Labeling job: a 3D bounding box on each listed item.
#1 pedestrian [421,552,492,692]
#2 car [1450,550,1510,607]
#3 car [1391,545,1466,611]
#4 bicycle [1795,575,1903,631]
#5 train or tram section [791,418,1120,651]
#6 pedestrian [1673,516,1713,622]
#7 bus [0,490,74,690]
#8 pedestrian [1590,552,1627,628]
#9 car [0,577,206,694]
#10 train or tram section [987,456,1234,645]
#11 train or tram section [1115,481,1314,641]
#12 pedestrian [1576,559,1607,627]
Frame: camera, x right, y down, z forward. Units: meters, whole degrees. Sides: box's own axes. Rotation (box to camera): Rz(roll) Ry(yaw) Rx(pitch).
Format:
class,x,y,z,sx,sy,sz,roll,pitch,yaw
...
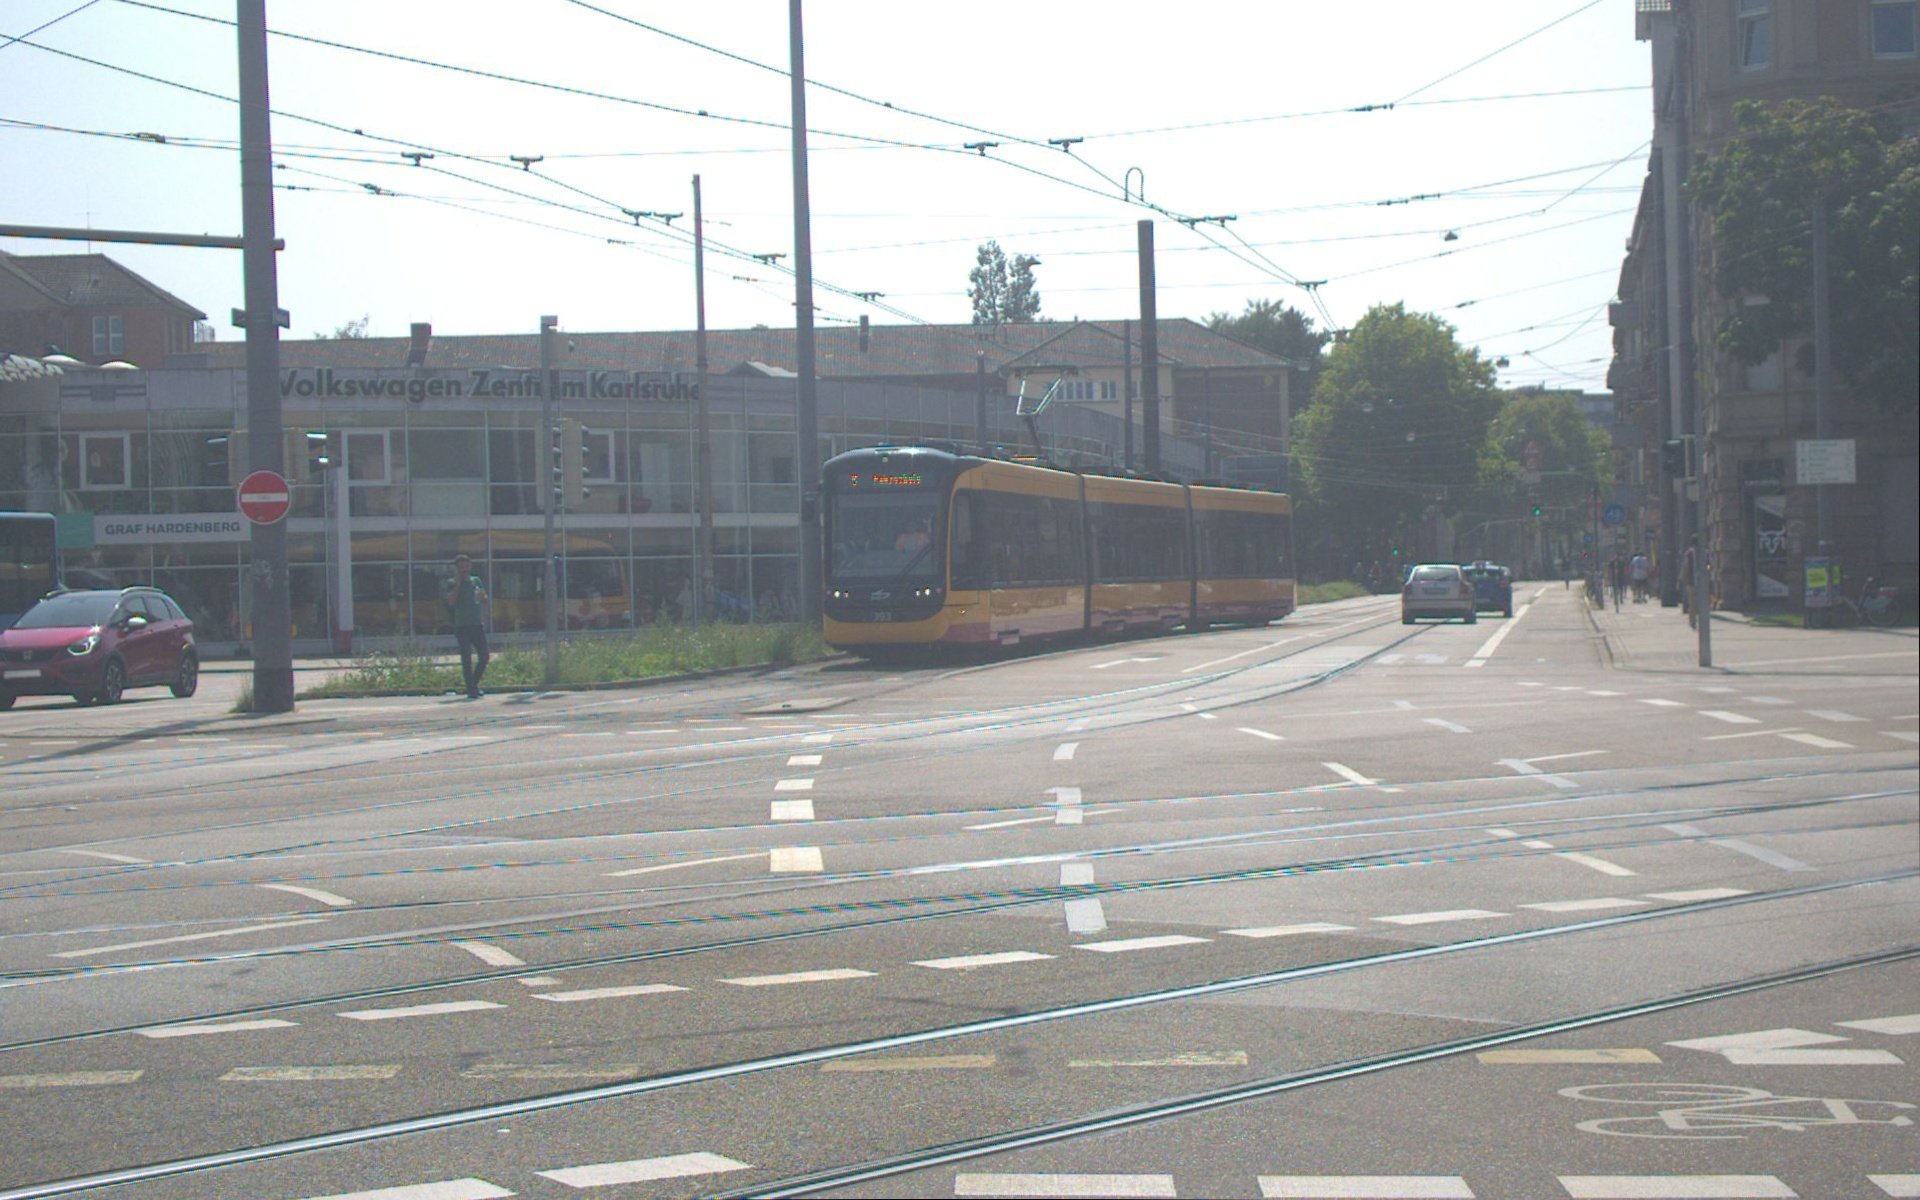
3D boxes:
class,x,y,z,sx,sy,sz,roll,pitch,yaw
pedestrian,-6.171,0.263,42.173,0.802,1.681,0.719,-1,0,-7
car,14.358,-0.601,95.008,1.510,1.506,3.623,-1,0,7
car,11.587,-0.528,85.116,1.733,1.569,3.611,0,0,6
bicycle,15.804,0.052,61.138,1.783,0.954,0.462,-1,0,5
train or tram section,0.187,-0.976,58.574,2.589,3.548,12.208,0,0,15
pedestrian,14.099,-0.594,66.152,0.649,2.007,0.703,-1,0,7
bus,-16.756,-0.093,49.218,2.727,3.054,12.076,-1,0,12
pedestrian,17.041,-0.259,90.356,0.839,2.007,0.810,0,0,3
car,-11.708,0.452,46.387,1.625,1.467,3.770,-1,1,11
train or tram section,3.311,-0.902,70.843,2.589,3.548,12.208,0,0,15
train or tram section,6.249,-0.832,82.213,2.589,3.548,12.208,0,0,15
pedestrian,18.813,-0.195,102.482,0.791,2.007,0.810,0,0,3
